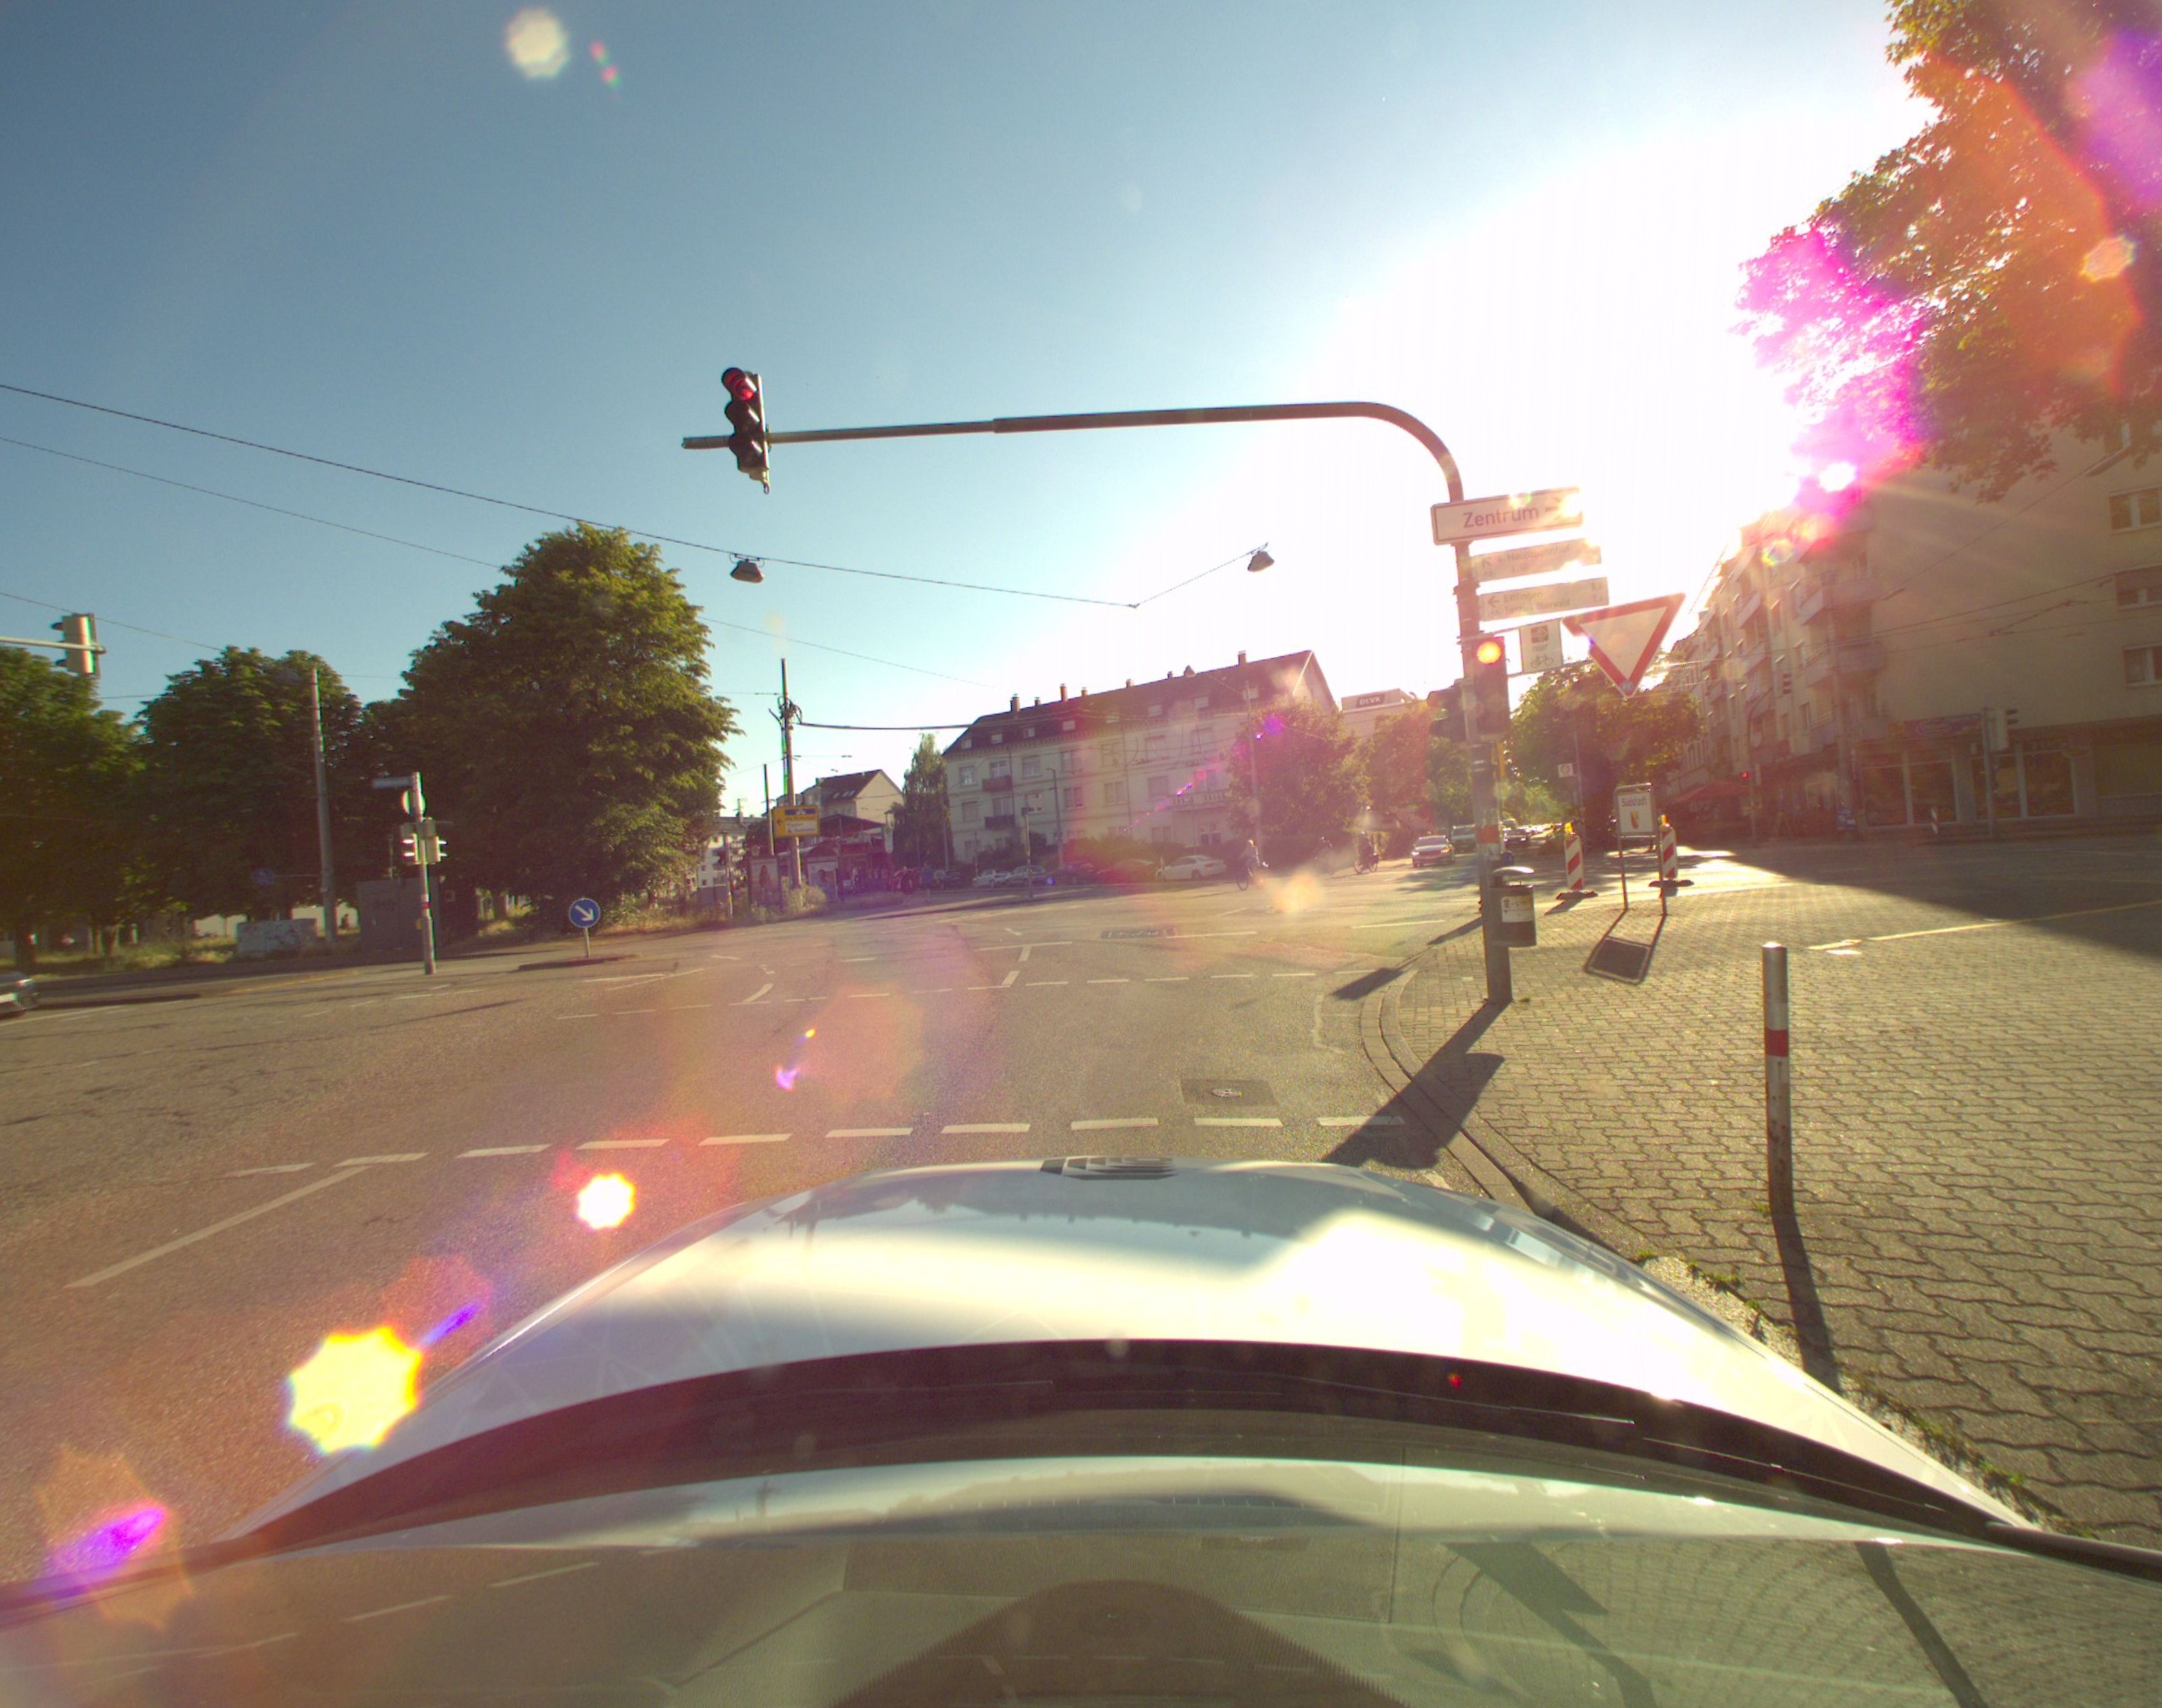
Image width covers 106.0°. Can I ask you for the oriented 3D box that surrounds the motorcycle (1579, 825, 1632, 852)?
[{"bbox_3d":[24.969,-0.720,38.807,1.933,1.109,0.842,-5,-1,26],"label":"motorcycle"}]

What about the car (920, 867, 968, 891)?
[{"bbox_3d":[-11.408,2.067,67.630,1.855,1.667,4.319,-7,1,-39],"label":"car"}]

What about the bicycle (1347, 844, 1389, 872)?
[{"bbox_3d":[12.184,0.165,34.516,2.030,1.069,0.656,-4,-1,-40],"label":"bicycle"}]

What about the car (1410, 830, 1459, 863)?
[{"bbox_3d":[17.076,-0.316,39.221,1.873,1.486,4.024,-1,-1,27],"label":"car"}]

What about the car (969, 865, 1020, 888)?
[{"bbox_3d":[-6.588,1.722,61.678,1.855,1.447,3.912,-7,1,-39],"label":"car"}]

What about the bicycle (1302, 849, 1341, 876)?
[{"bbox_3d":[10.642,0.361,35.978,2.031,1.069,0.655,-4,-1,-43],"label":"bicycle"}]

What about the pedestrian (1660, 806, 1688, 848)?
[{"bbox_3d":[26.066,-1.193,35.804,0.799,1.750,0.685,-4,-1,-38],"label":"pedestrian"}]

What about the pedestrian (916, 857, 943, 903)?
[{"bbox_3d":[-6.681,1.148,35.967,0.909,1.925,1.067,-4,-1,-1],"label":"pedestrian"}]

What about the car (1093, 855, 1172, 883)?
[{"bbox_3d":[3.124,0.938,50.198,1.999,1.376,4.647,-7,1,-44],"label":"car"}]

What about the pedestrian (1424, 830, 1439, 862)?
[{"bbox_3d":[21.183,-0.487,49.243,0.655,1.839,0.687,-4,-1,30],"label":"pedestrian"}]

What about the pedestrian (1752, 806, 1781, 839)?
[{"bbox_3d":[34.171,-1.556,40.627,0.804,1.544,0.919,-5,-1,25],"label":"pedestrian"}]

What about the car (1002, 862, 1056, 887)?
[{"bbox_3d":[-3.744,1.452,58.117,1.998,1.447,3.676,-7,1,-39],"label":"car"}]

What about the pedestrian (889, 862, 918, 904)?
[{"bbox_3d":[-7.676,1.232,35.318,0.909,1.747,1.067,-4,-1,-1],"label":"pedestrian"}]

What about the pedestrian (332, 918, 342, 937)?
[{"bbox_3d":[-59.931,5.939,65.592,0.406,1.507,0.370,-4,-1,-26],"label":"pedestrian"}]

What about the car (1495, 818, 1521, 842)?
[{"bbox_3d":[47.945,-2.703,91.349,2.332,2.514,5.343,-5,-1,28],"label":"car"}]

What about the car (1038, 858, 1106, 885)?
[{"bbox_3d":[-0.669,1.191,54.799,1.998,1.447,4.650,-7,1,-39],"label":"car"}]

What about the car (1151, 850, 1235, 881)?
[{"bbox_3d":[6.271,0.669,46.127,1.941,1.376,4.443,-7,1,-40],"label":"car"}]

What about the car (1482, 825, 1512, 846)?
[{"bbox_3d":[39.715,-1.798,77.674,2.332,1.795,5.343,-5,-1,28],"label":"car"}]

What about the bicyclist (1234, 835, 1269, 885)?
[{"bbox_3d":[5.820,0.199,27.736,0.767,1.605,0.863,-5,-1,37],"label":"bicyclist"}]

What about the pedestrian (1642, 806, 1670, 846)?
[{"bbox_3d":[25.991,-1.256,36.806,0.799,1.750,0.710,-4,-1,-38],"label":"pedestrian"}]

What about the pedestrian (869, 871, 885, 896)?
[{"bbox_3d":[-16.554,2.389,66.052,0.928,2.013,0.761,-4,0,-34],"label":"pedestrian"}]

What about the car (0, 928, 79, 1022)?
[{"bbox_3d":[-21.392,2.364,14.632,4.415,1.567,2.057,-4,0,5],"label":"car"}]

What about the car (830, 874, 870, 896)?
[{"bbox_3d":[-23.846,3.185,83.948,2.067,1.961,5.091,-7,1,-39],"label":"car"}]

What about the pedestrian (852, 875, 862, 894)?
[{"bbox_3d":[-18.450,2.541,67.014,0.569,1.500,0.672,-4,-1,-27],"label":"pedestrian"}]

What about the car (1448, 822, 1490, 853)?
[{"bbox_3d":[28.387,-1.237,59.449,2.332,2.013,5.343,-5,-1,28],"label":"car"}]

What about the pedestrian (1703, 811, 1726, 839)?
[{"bbox_3d":[33.377,-1.532,42.912,0.803,1.362,0.920,-5,-1,36],"label":"pedestrian"}]

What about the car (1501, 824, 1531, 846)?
[{"bbox_3d":[33.986,-1.508,63.621,1.875,1.564,4.420,-4,0,29],"label":"car"}]

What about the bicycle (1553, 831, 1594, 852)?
[{"bbox_3d":[24.920,-0.643,41.202,1.707,0.932,0.676,-5,-1,31],"label":"bicycle"}]

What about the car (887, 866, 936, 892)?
[{"bbox_3d":[-15.204,2.224,72.764,2.067,1.961,5.091,-7,1,-39],"label":"car"}]

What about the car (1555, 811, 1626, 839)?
[{"bbox_3d":[44.681,-2.515,71.622,5.042,1.924,2.377,-5,-2,28],"label":"car"}]

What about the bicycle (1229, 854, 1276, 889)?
[{"bbox_3d":[5.844,0.579,27.615,0.655,1.069,2.032,-5,-1,38],"label":"bicycle"}]

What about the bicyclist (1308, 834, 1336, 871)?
[{"bbox_3d":[10.654,-0.069,35.990,1.043,1.532,0.653,-4,-1,-42],"label":"bicyclist"}]

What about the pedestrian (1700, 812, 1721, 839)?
[{"bbox_3d":[34.056,-1.528,44.066,0.803,1.362,0.920,-5,-1,36],"label":"pedestrian"}]

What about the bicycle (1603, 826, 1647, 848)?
[{"bbox_3d":[26.471,-0.821,39.661,1.707,0.932,0.565,-5,-1,31],"label":"bicycle"}]

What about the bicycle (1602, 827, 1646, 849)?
[{"bbox_3d":[26.870,-0.774,40.325,1.707,0.932,0.565,-5,-1,31],"label":"bicycle"}]

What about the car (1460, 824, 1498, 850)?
[{"bbox_3d":[31.691,-1.340,64.754,2.332,1.795,5.343,-5,-1,28],"label":"car"}]

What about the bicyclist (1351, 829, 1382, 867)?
[{"bbox_3d":[12.099,-0.270,34.489,1.043,1.532,0.690,-4,-1,-41],"label":"bicyclist"}]
